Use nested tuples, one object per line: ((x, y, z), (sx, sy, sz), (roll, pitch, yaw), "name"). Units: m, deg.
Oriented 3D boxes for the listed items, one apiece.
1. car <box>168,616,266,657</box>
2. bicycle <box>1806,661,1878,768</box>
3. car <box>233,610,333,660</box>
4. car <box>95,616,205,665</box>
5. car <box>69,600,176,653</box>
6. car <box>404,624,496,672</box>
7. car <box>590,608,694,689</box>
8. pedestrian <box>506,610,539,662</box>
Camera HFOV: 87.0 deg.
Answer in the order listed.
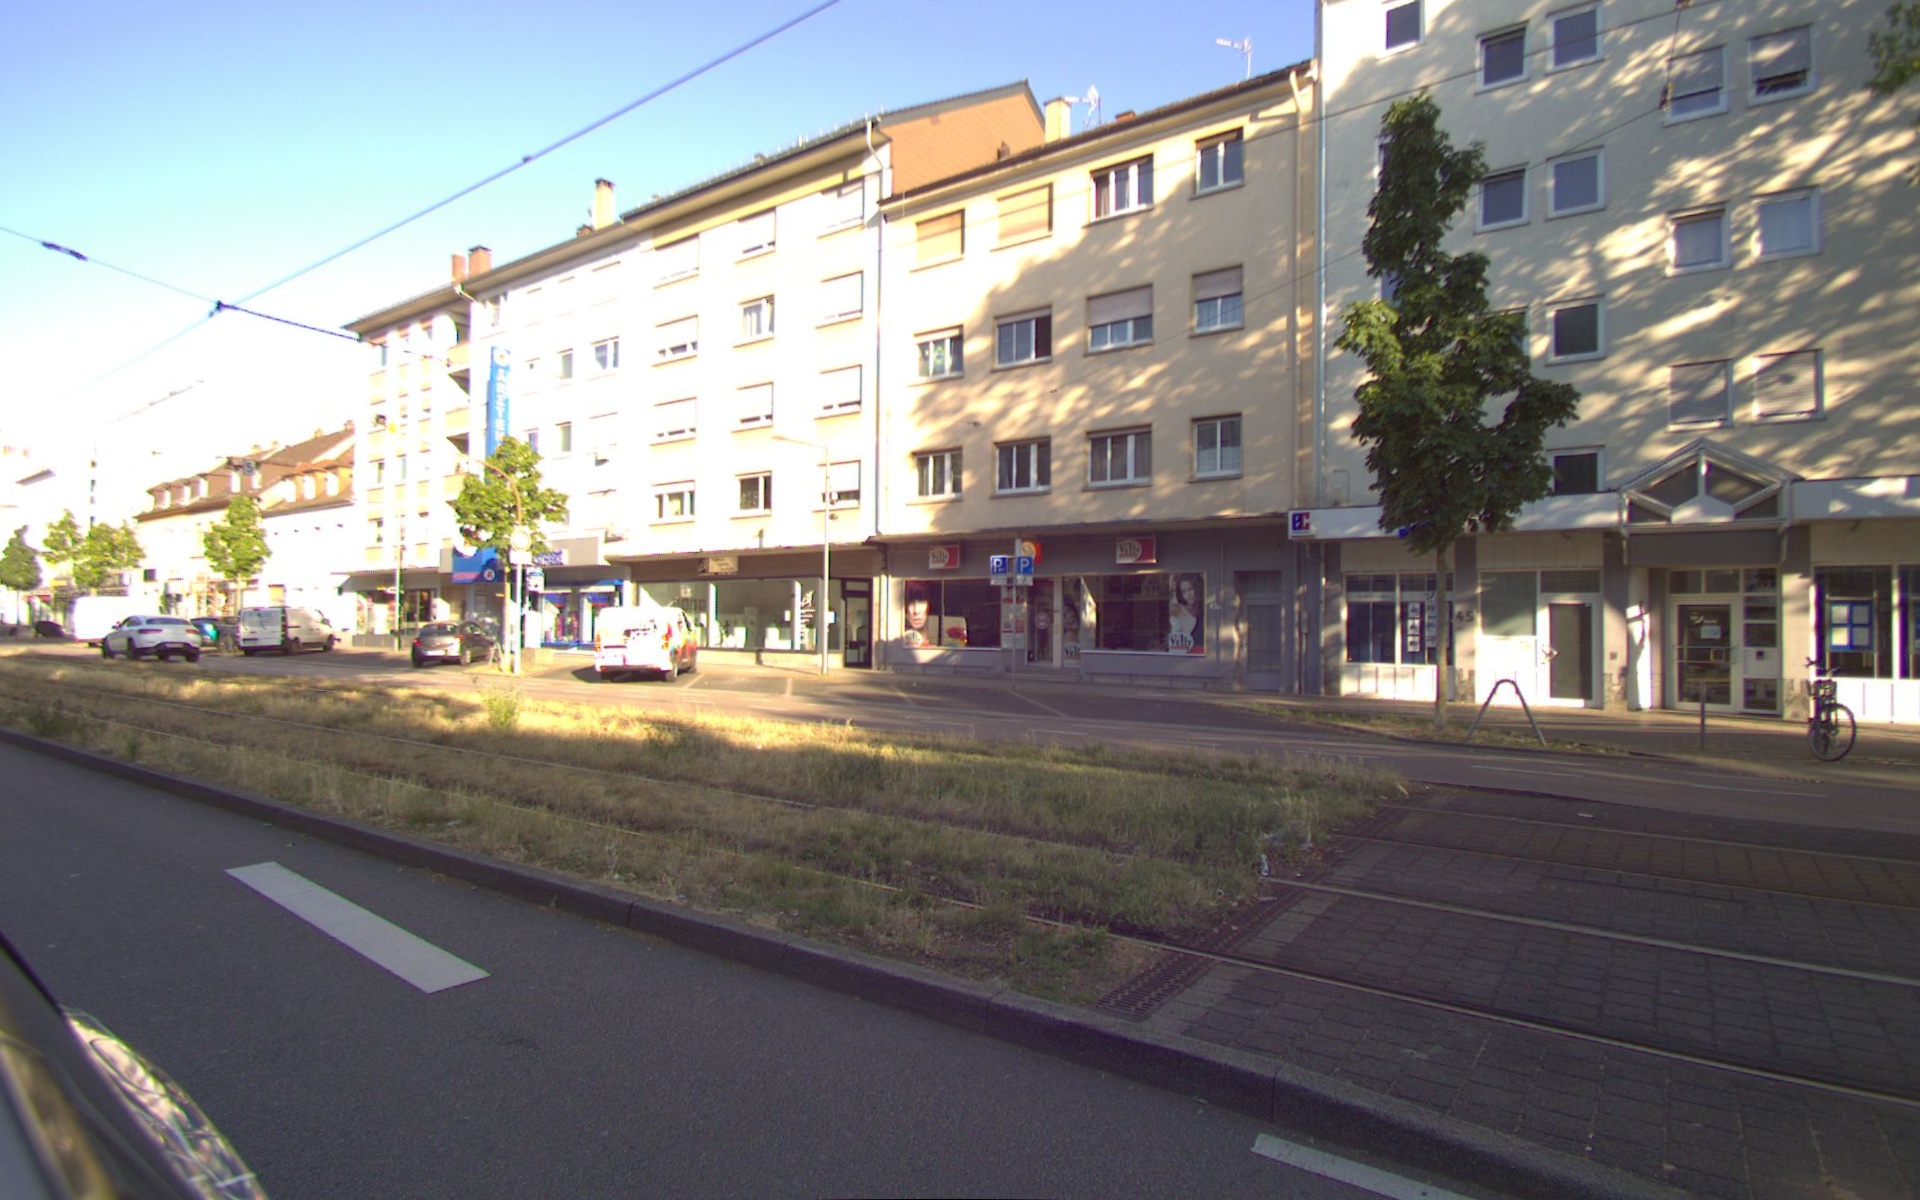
((-33.754, 1.629, 46.095), (1.830, 1.727, 3.919), (0, -1, -5), "car")
((10.855, 1.371, 12.493), (0.511, 1.147, 1.724), (-1, -1, 36), "bicycle")
((-28.078, 1.411, 42.144), (1.828, 1.952, 4.514), (0, -1, -10), "car")
((-28.006, 1.387, 34.952), (4.442, 1.592, 1.824), (-1, -3, 36), "car")
((-44.817, 1.365, 54.359), (1.895, 2.634, 6.608), (0, -1, -16), "car")
((-16.975, 1.551, 33.881), (1.708, 1.450, 4.009), (0, -1, -10), "car")
((-8.251, 1.201, 26.618), (1.830, 1.913, 4.005), (0, 0, -6), "car")
((-15.694, 1.293, 36.333), (0.916, 1.841, 0.748), (-1, -1, 38), "pedestrian")
